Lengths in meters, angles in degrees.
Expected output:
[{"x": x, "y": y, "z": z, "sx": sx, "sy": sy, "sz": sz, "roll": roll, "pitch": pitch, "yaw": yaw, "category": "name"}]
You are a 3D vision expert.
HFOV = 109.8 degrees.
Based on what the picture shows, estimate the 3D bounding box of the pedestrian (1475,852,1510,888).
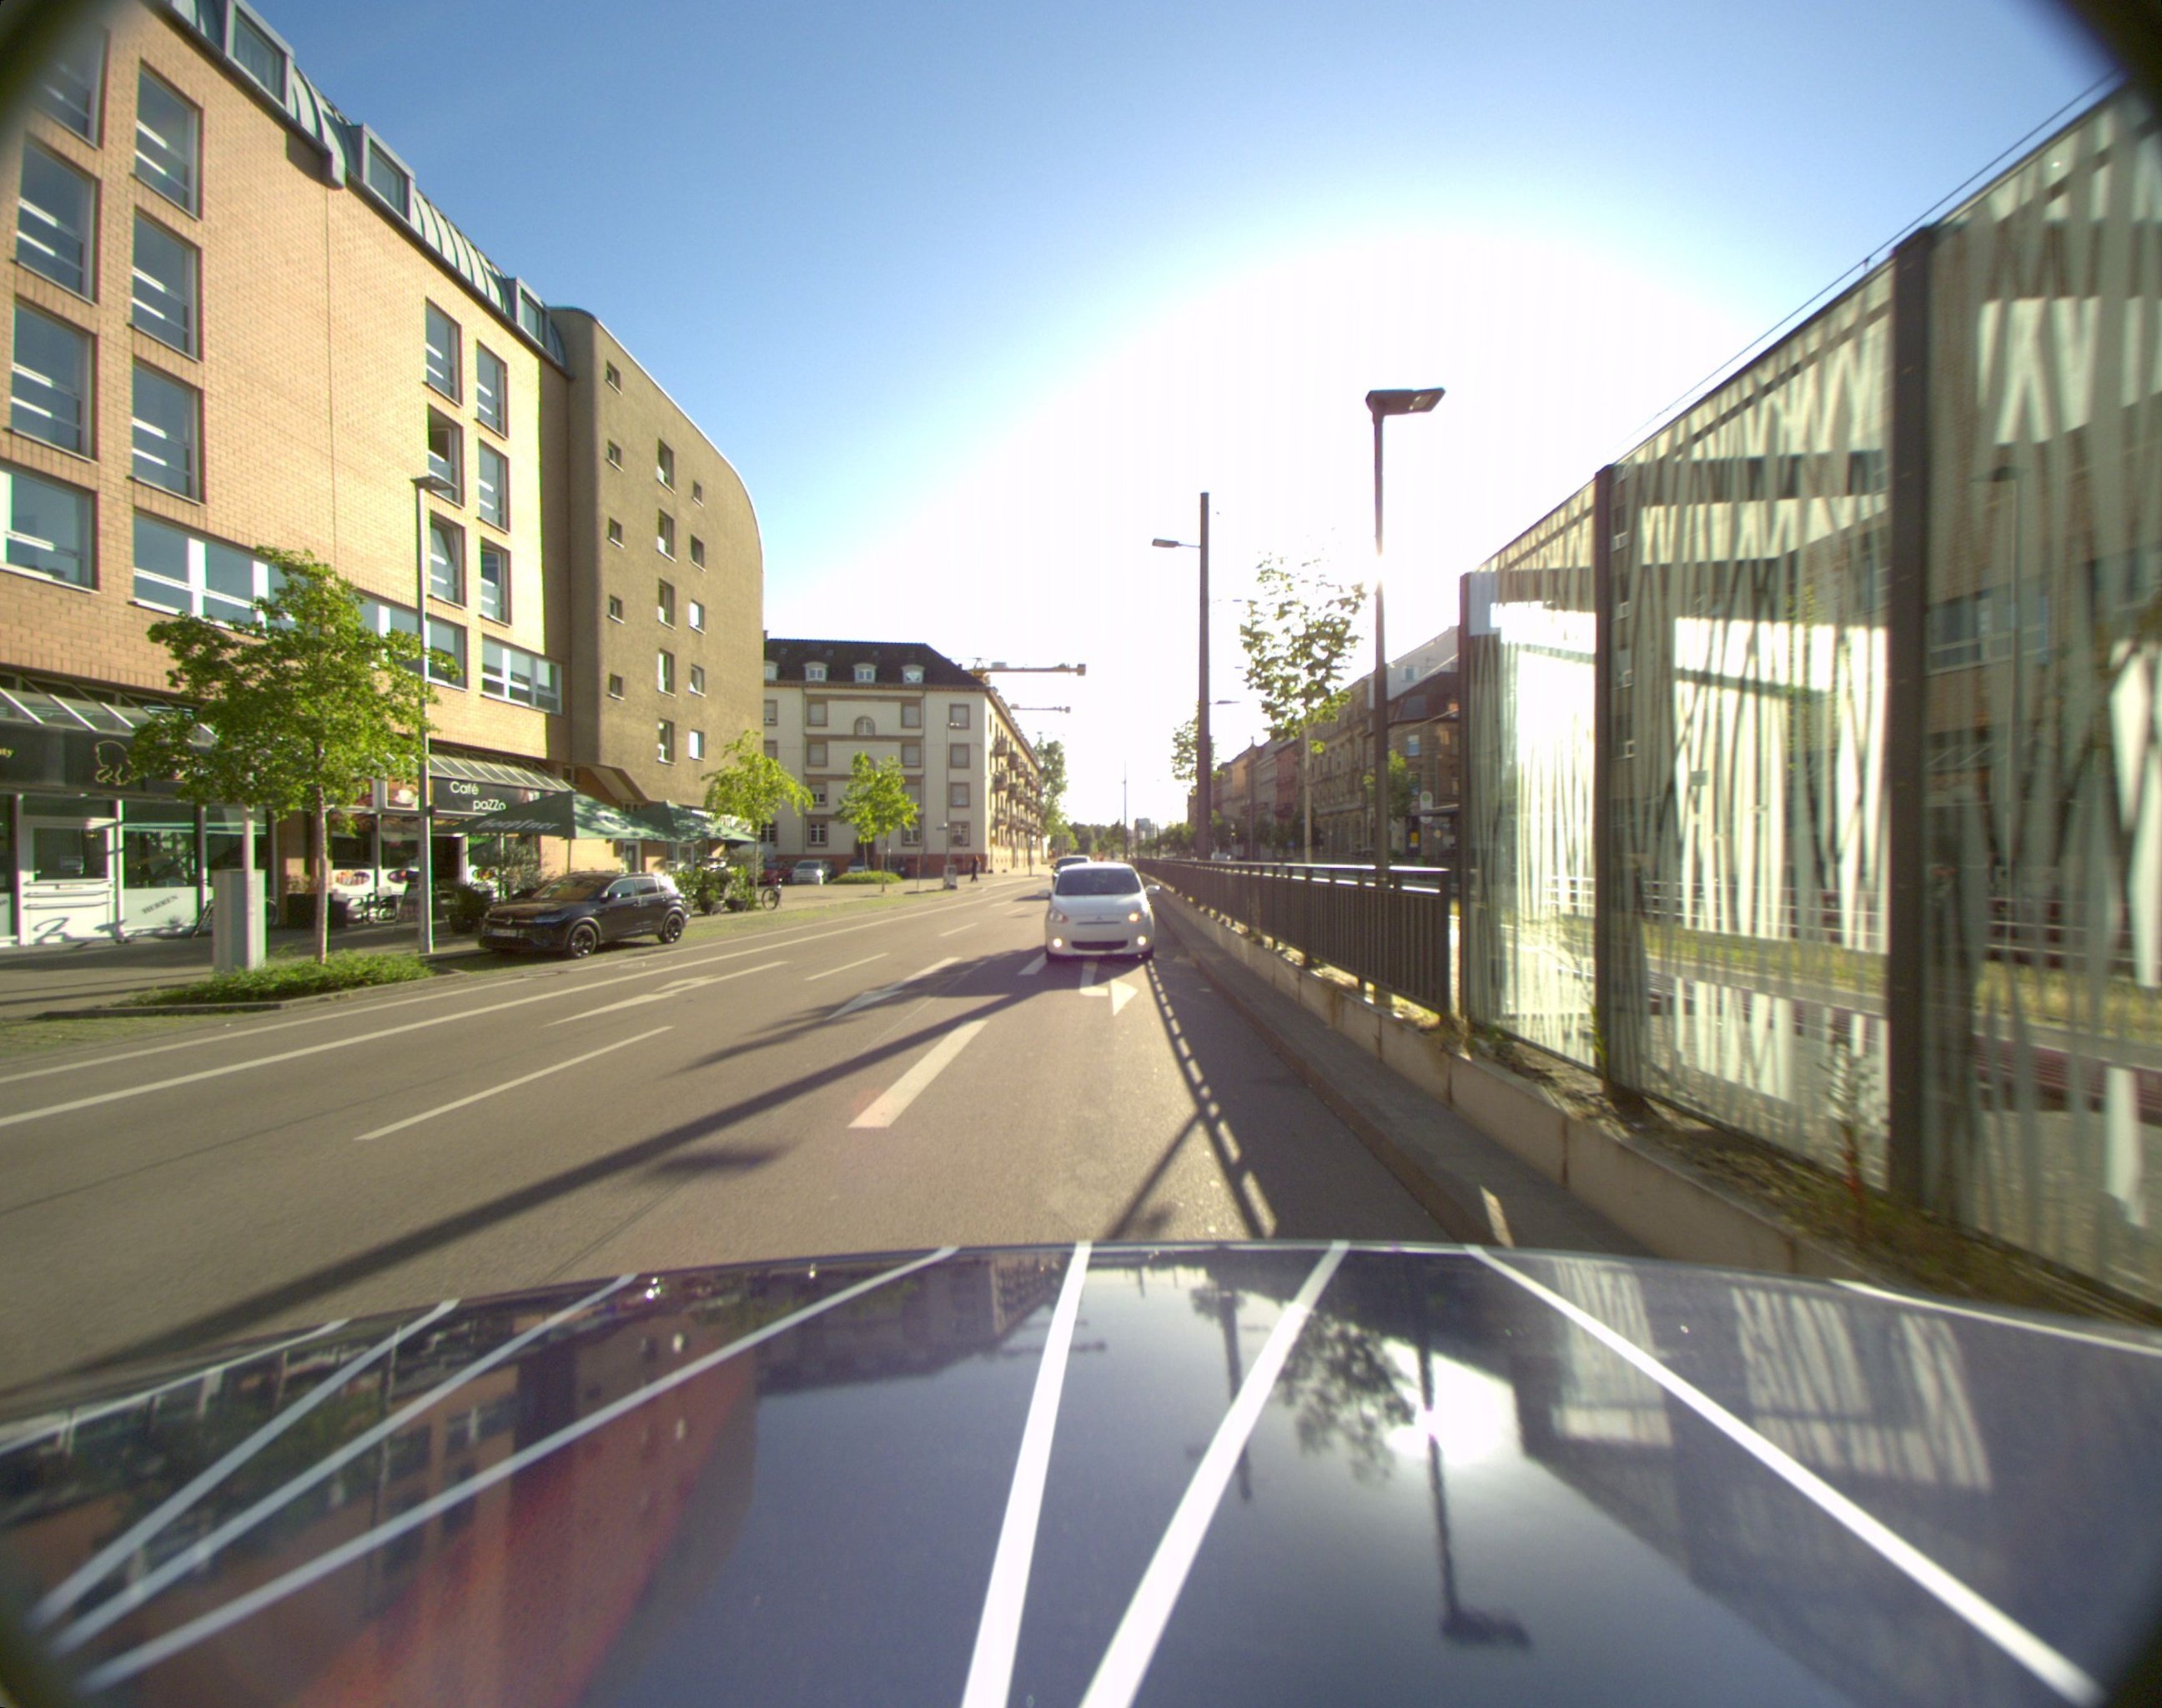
[{"x": 13.757, "y": 0.521, "z": 25.412, "sx": 0.723, "sy": 1.161, "sz": 0.721, "roll": 1, "pitch": 1, "yaw": 1, "category": "pedestrian"}]

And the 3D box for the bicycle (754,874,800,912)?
[{"x": -10.157, "y": 1.284, "z": 25.461, "sx": 0.767, "sy": 1.075, "sz": 1.997, "roll": 5, "pitch": 1, "yaw": -2, "category": "bicycle"}]

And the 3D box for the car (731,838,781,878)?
[{"x": -23.347, "y": 0.230, "z": 54.773, "sx": 1.929, "sy": 2.595, "sz": 5.955, "roll": 0, "pitch": 3, "yaw": -10, "category": "car"}]

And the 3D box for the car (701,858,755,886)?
[{"x": -20.355, "y": 1.013, "z": 43.922, "sx": 1.637, "sy": 1.446, "sz": 3.732, "roll": -2, "pitch": 0, "yaw": -6, "category": "car"}]

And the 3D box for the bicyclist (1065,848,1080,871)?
[{"x": -0.648, "y": 0.428, "z": 58.758, "sx": 0.935, "sy": 1.753, "sz": 0.737, "roll": 0, "pitch": 1, "yaw": 45, "category": "bicyclist"}]

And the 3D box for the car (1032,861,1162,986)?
[{"x": 0.251, "y": 0.937, "z": 12.197, "sx": 1.634, "sy": 1.499, "sz": 4.350, "roll": -3, "pitch": 0, "yaw": 1, "category": "car"}]

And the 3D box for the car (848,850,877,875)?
[{"x": -16.254, "y": 0.590, "z": 56.681, "sx": 1.629, "sy": 1.677, "sz": 4.434, "roll": -1, "pitch": 2, "yaw": -11, "category": "car"}]

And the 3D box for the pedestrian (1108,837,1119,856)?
[{"x": 2.504, "y": -0.593, "z": 59.131, "sx": 0.791, "sy": 1.449, "sz": 0.946, "roll": 0, "pitch": 1, "yaw": -1, "category": "pedestrian"}]

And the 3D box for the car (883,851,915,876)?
[{"x": -13.554, "y": 0.679, "z": 56.822, "sx": 1.697, "sy": 1.676, "sz": 4.437, "roll": -2, "pitch": 0, "yaw": -7, "category": "car"}]

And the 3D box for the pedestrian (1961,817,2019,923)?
[{"x": 14.359, "y": 0.253, "z": 12.008, "sx": 0.379, "sy": 1.639, "sz": 0.416, "roll": -2, "pitch": 1, "yaw": 1, "category": "pedestrian"}]

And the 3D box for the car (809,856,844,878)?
[{"x": -18.731, "y": 0.951, "z": 56.050, "sx": 1.698, "sy": 1.421, "sz": 4.435, "roll": -2, "pitch": 1, "yaw": -10, "category": "car"}]

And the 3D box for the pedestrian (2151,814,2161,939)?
[{"x": 14.098, "y": 0.286, "z": 9.584, "sx": 0.379, "sy": 1.612, "sz": 0.553, "roll": -2, "pitch": 1, "yaw": 1, "category": "pedestrian"}]

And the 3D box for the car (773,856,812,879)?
[{"x": -21.255, "y": 0.930, "z": 56.135, "sx": 1.698, "sy": 1.470, "sz": 4.435, "roll": -2, "pitch": 1, "yaw": -9, "category": "car"}]

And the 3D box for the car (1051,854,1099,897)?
[{"x": -0.212, "y": 0.908, "z": 34.250, "sx": 1.899, "sy": 1.730, "sz": 4.001, "roll": -2, "pitch": 0, "yaw": 3, "category": "car"}]

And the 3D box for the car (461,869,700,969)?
[{"x": -9.906, "y": 1.191, "z": 15.519, "sx": 1.724, "sy": 1.627, "sz": 4.233, "roll": 0, "pitch": 1, "yaw": 7, "category": "car"}]

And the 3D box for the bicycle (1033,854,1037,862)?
[{"x": -6.383, "y": 0.526, "z": 104.836, "sx": 0.419, "sy": 1.089, "sz": 2.198, "roll": 0, "pitch": 0, "yaw": 1, "category": "bicycle"}]

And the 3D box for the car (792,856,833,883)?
[{"x": -15.724, "y": 0.892, "z": 44.662, "sx": 1.668, "sy": 1.466, "sz": 3.833, "roll": -3, "pitch": 0, "yaw": -11, "category": "car"}]

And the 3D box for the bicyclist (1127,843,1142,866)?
[{"x": 4.256, "y": 0.034, "z": 60.536, "sx": 0.886, "sy": 1.763, "sz": 0.854, "roll": -1, "pitch": 1, "yaw": -25, "category": "bicyclist"}]

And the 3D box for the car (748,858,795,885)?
[{"x": -17.965, "y": 0.964, "z": 44.240, "sx": 1.637, "sy": 1.444, "sz": 3.653, "roll": -2, "pitch": 0, "yaw": -9, "category": "car"}]

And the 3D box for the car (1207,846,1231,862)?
[{"x": 18.004, "y": 0.017, "z": 99.286, "sx": 1.999, "sy": 1.869, "sz": 4.582, "roll": -2, "pitch": 0, "yaw": -2, "category": "car"}]

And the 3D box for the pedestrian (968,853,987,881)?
[{"x": -6.598, "y": 0.826, "z": 48.504, "sx": 0.885, "sy": 1.753, "sz": 1.106, "roll": 1, "pitch": 2, "yaw": 10, "category": "pedestrian"}]

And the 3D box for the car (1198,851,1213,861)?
[{"x": 22.861, "y": 0.348, "z": 139.880, "sx": 1.998, "sy": 1.688, "sz": 4.887, "roll": -2, "pitch": 0, "yaw": 0, "category": "car"}]

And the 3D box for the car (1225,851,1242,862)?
[{"x": 23.506, "y": 0.403, "z": 117.265, "sx": 1.943, "sy": 1.648, "sz": 4.545, "roll": -2, "pitch": 0, "yaw": 3, "category": "car"}]
